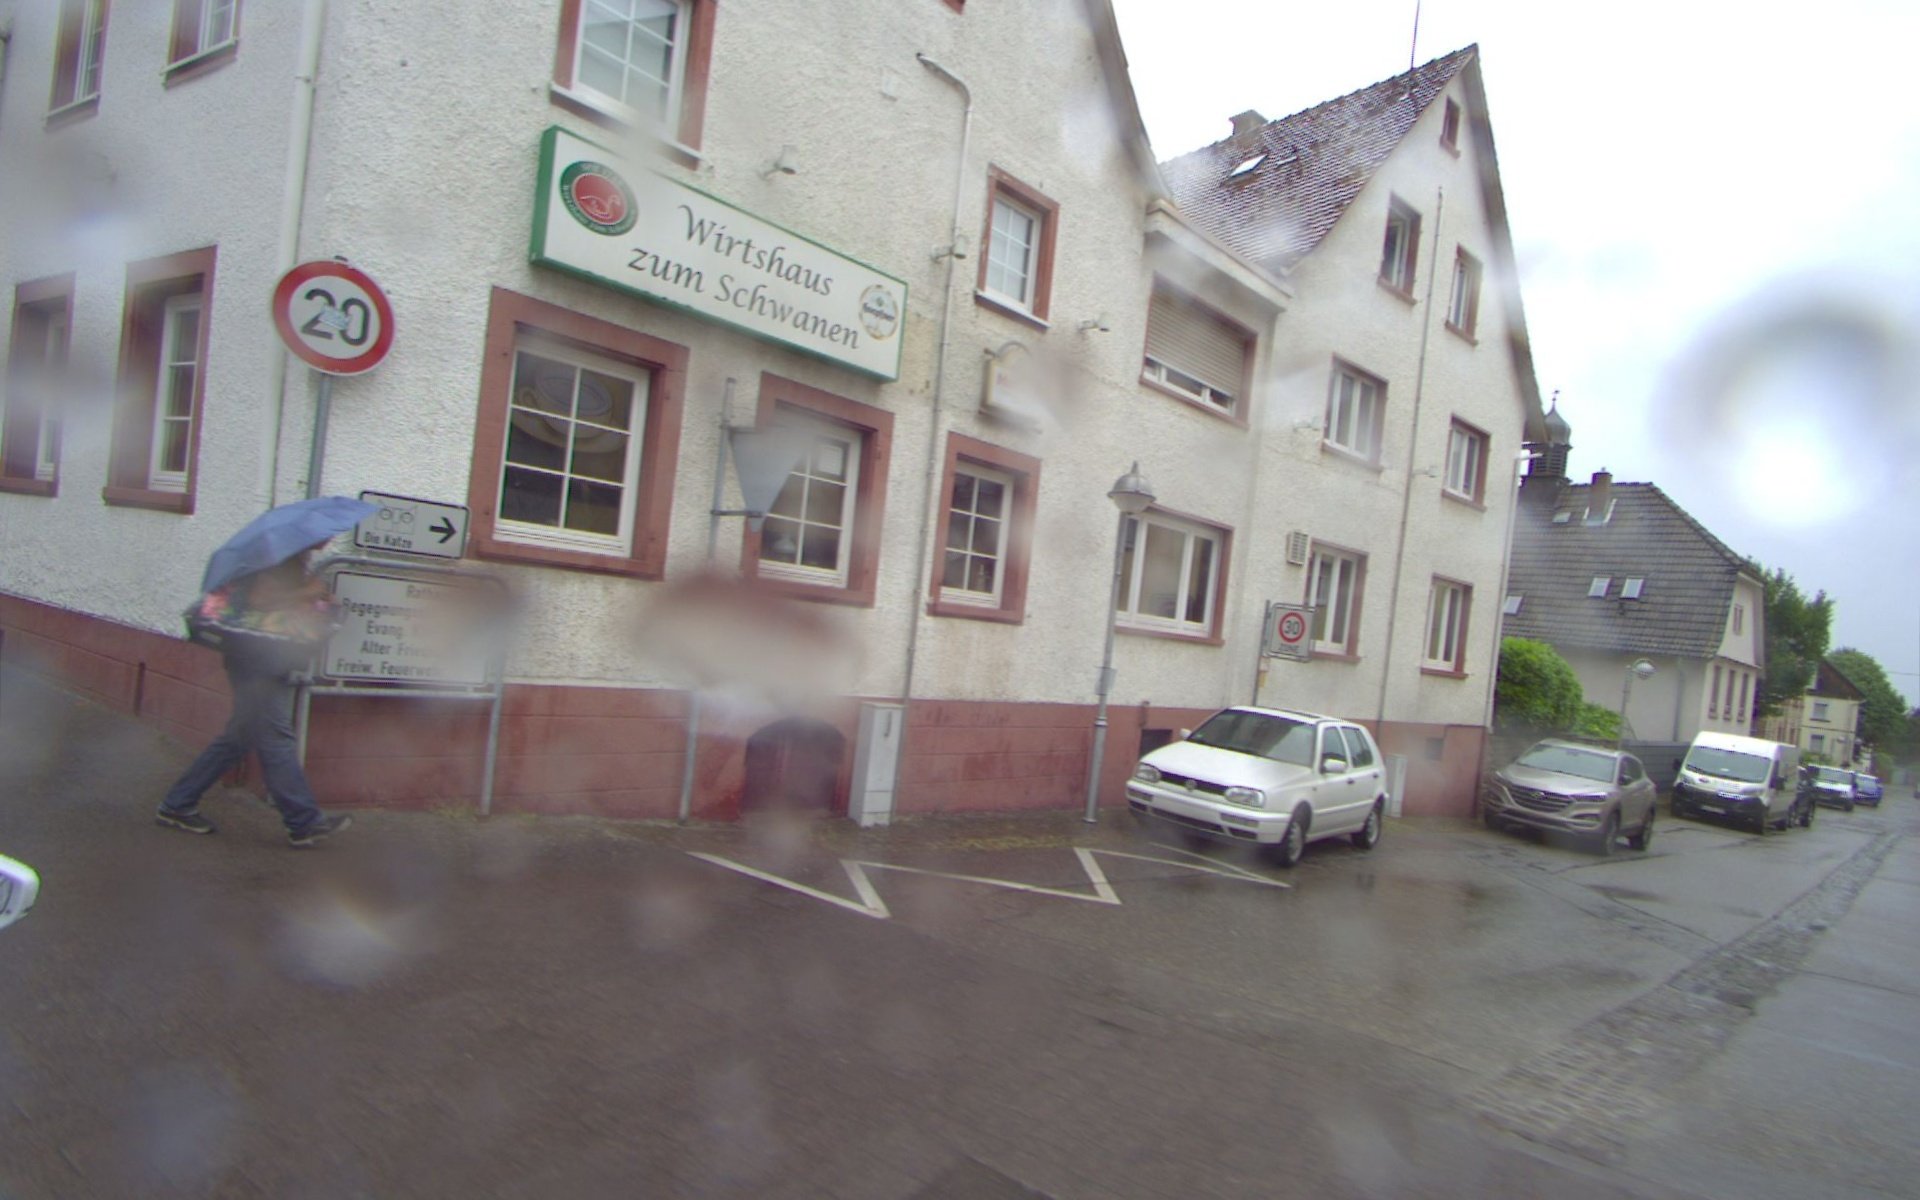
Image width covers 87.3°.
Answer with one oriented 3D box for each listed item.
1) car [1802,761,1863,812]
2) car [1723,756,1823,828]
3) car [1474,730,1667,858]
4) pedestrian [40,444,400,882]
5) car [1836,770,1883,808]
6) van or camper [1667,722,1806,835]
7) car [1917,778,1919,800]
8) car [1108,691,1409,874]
[{"bbox_3d":[43.357,9.218,50.006,1.972,2.037,4.621,8,-1,42],"label":"car"},{"bbox_3d":[26.487,6.221,32.723,3.816,1.852,1.895,10,-1,-44],"label":"car"},{"bbox_3d":[10.577,3.306,17.312,1.805,1.630,4.002,8,-2,45],"label":"car"},{"bbox_3d":[-3.403,0.272,4.750,0.797,1.758,0.996,8,1,-6],"label":"pedestrian"},{"bbox_3d":[52.224,10.936,58.443,1.821,1.728,4.023,8,-1,42],"label":"car"},{"bbox_3d":[21.788,4.965,28.112,5.866,2.508,2.061,10,-1,-44],"label":"van or camper"},{"bbox_3d":[81.076,15.916,83.622,1.897,1.735,3.983,7,-2,42],"label":"car"},{"bbox_3d":[3.394,1.868,10.927,1.638,1.389,3.949,7,-2,39],"label":"car"}]
